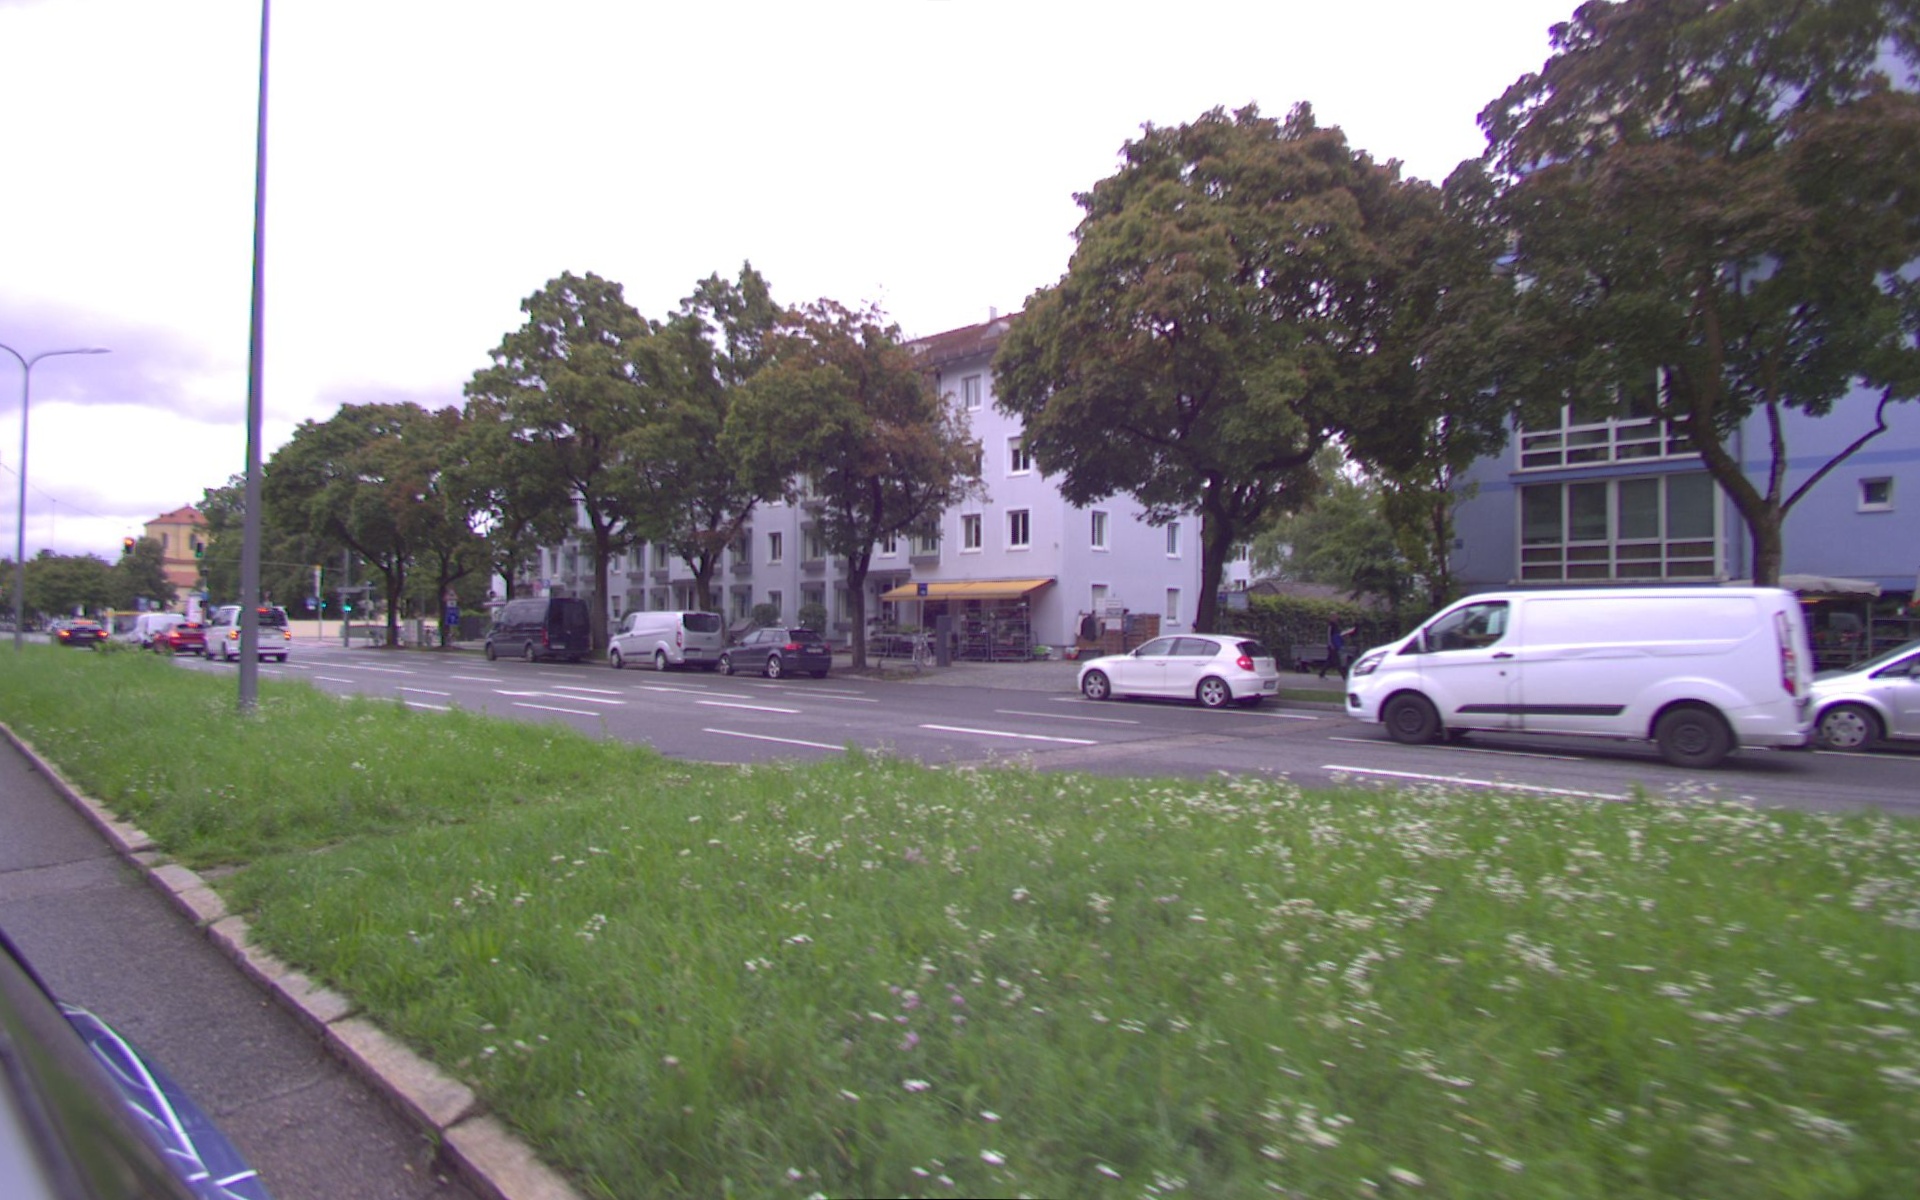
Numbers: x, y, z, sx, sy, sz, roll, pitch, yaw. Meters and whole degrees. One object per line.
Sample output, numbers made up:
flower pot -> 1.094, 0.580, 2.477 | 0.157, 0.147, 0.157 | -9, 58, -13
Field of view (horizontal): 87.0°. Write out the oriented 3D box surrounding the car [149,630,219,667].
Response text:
car -> -32.900, 2.030, 42.871 | 3.672, 1.459, 1.771 | -2, -3, 43

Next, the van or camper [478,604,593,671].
van or camper -> -16.986, 1.495, 40.343 | 5.547, 2.506, 2.028 | -2, -3, 42

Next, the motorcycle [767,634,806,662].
motorcycle -> -7.264, 2.006, 42.445 | 0.463, 1.179, 1.791 | -2, -3, 38

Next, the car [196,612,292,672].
car -> -26.044, 1.510, 36.740 | 4.704, 2.013, 1.918 | -2, -3, 43

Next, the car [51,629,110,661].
car -> -41.971, 2.130, 48.280 | 3.672, 1.459, 1.738 | -2, -3, 43

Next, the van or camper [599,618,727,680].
van or camper -> -9.989, 1.608, 33.897 | 4.704, 1.957, 1.998 | -2, -3, 43

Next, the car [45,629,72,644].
car -> -113.765, 4.609, 127.671 | 3.999, 1.904, 2.117 | -2, -3, 42

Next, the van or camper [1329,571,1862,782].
van or camper -> 7.440, 0.824, 12.293 | 5.198, 2.031, 1.993 | -2, -3, 43

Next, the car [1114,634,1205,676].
car -> 7.261, 1.964, 36.615 | 1.549, 1.431, 3.946 | -2, -3, 40

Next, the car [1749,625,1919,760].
car -> 12.708, 1.127, 12.392 | 4.653, 1.628, 1.684 | -1, -3, 35

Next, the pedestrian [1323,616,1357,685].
pedestrian -> 9.286, 1.231, 24.710 | 0.633, 1.658, 0.533 | -2, -3, 40

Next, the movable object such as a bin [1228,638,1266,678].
movable object such as a bin -> 8.322, 1.679, 29.293 | 0.764, 1.128, 0.967 | -1, -3, 37

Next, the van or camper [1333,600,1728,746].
van or camper -> 8.876, 1.070, 16.136 | 5.210, 1.983, 1.785 | -2, -3, 43

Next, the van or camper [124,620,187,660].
van or camper -> -38.758, 1.916, 48.747 | 4.125, 1.811, 1.771 | -2, -3, 43

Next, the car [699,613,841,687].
car -> -5.637, 1.441, 29.718 | 4.546, 2.013, 1.777 | -2, -3, 43

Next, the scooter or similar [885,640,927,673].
scooter or similar -> -1.737, 1.818, 32.834 | 0.567, 1.021, 1.783 | -1, -1, 27

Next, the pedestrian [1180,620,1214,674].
pedestrian -> 7.260, 1.441, 31.018 | 0.968, 1.615, 0.763 | 0, -2, 18

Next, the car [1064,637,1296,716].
car -> 4.333, 1.470, 20.407 | 4.333, 1.405, 1.658 | -2, -3, 41
